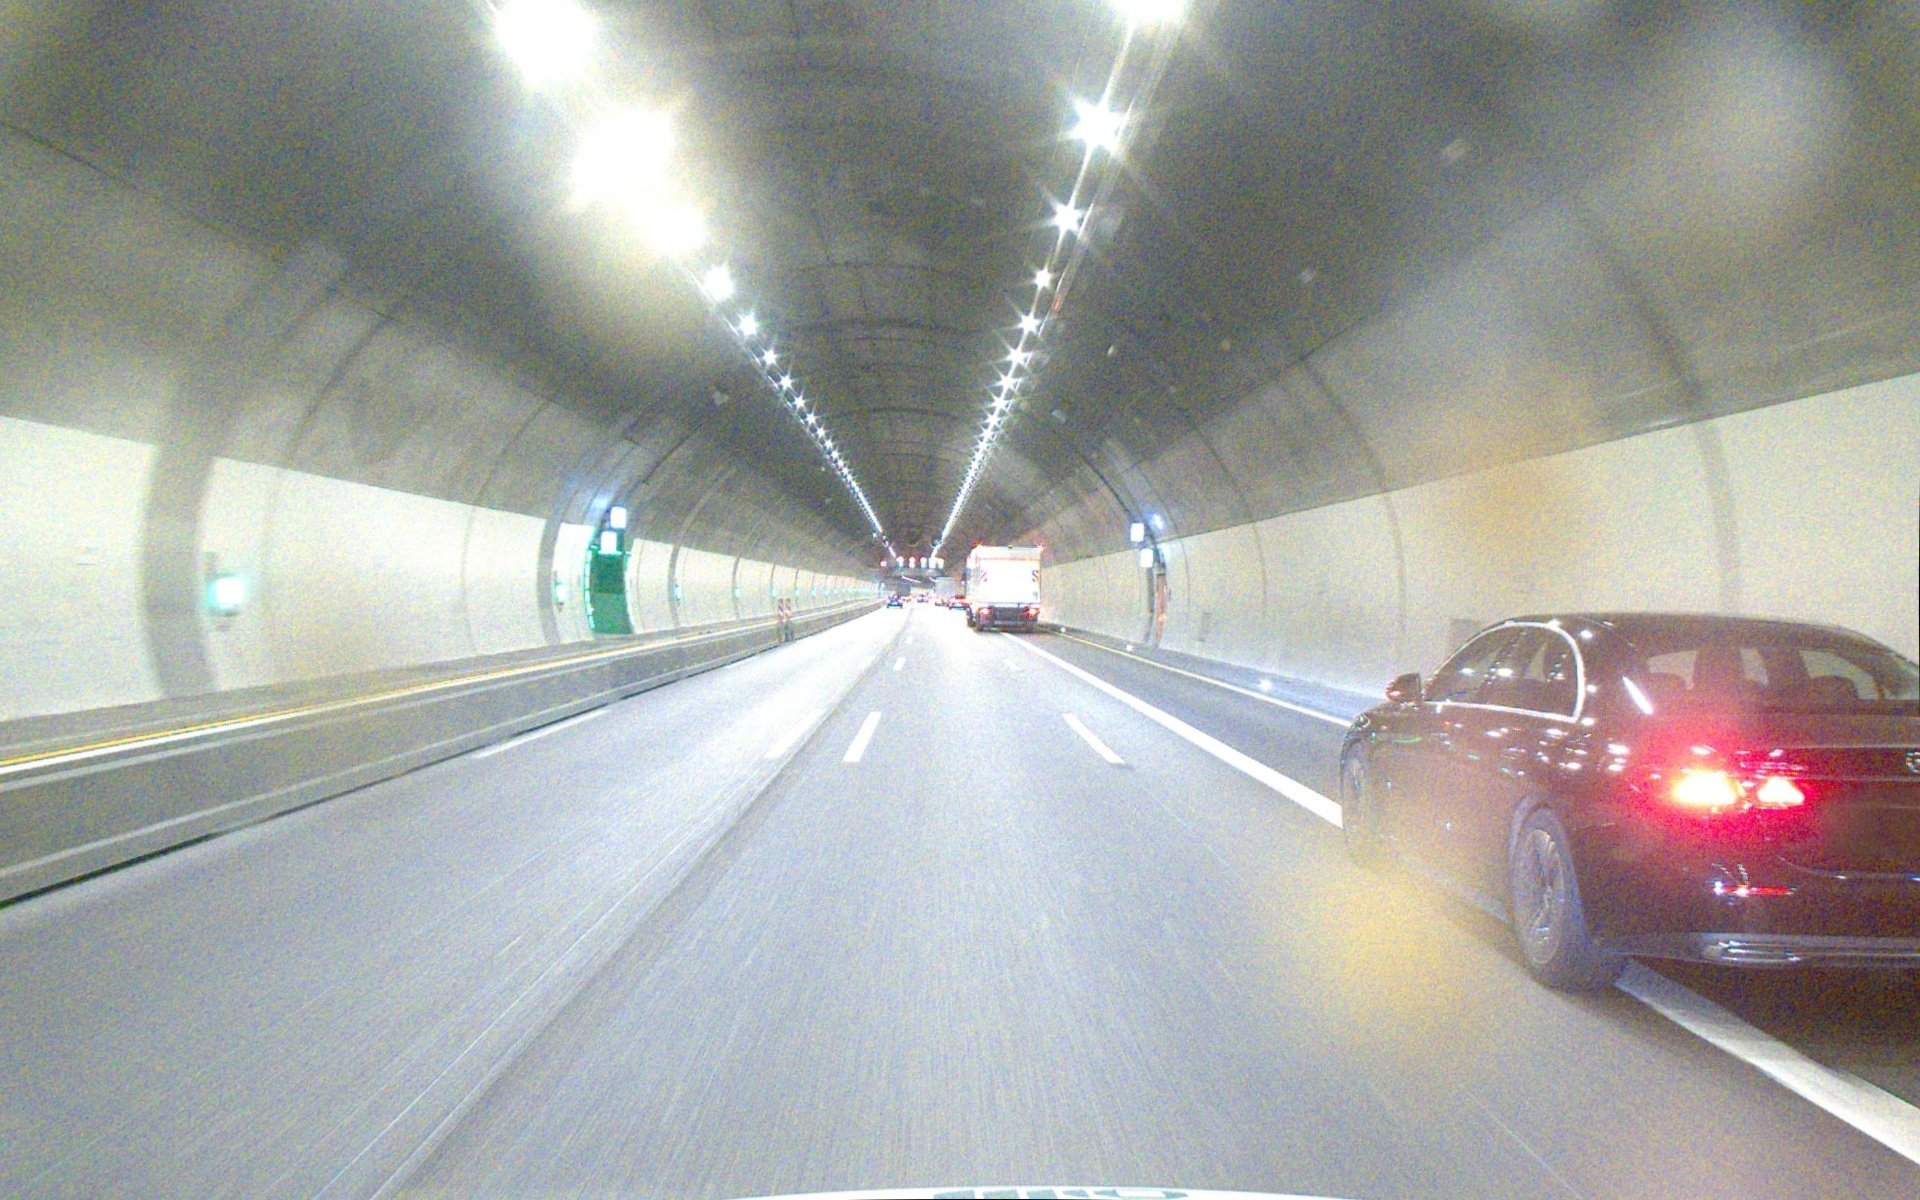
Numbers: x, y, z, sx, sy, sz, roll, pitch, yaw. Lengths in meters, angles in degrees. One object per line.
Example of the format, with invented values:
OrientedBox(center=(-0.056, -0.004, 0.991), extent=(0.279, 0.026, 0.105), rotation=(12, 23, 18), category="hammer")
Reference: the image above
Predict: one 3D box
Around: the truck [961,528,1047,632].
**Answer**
OrientedBox(center=(1.745, -0.735, 70.332), extent=(3.029, 3.986, 10.364), rotation=(2, -1, -1), category="truck")

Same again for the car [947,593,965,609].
OrientedBox(center=(-0.374, 0.064, 158.620), extent=(1.704, 1.486, 3.960), rotation=(2, 1, 0), category="car")

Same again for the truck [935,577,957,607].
OrientedBox(center=(-1.968, -1.142, 237.721), extent=(3.004, 3.986, 10.367), rotation=(2, -1, 0), category="truck")

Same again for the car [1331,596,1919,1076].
OrientedBox(center=(3.240, 0.768, 7.723), extent=(1.886, 1.498, 4.954), rotation=(2, 0, 0), category="car")

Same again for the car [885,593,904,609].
OrientedBox(center=(-6.461, 0.108, 162.305), extent=(1.723, 1.486, 4.118), rotation=(2, 1, -1), category="car")
